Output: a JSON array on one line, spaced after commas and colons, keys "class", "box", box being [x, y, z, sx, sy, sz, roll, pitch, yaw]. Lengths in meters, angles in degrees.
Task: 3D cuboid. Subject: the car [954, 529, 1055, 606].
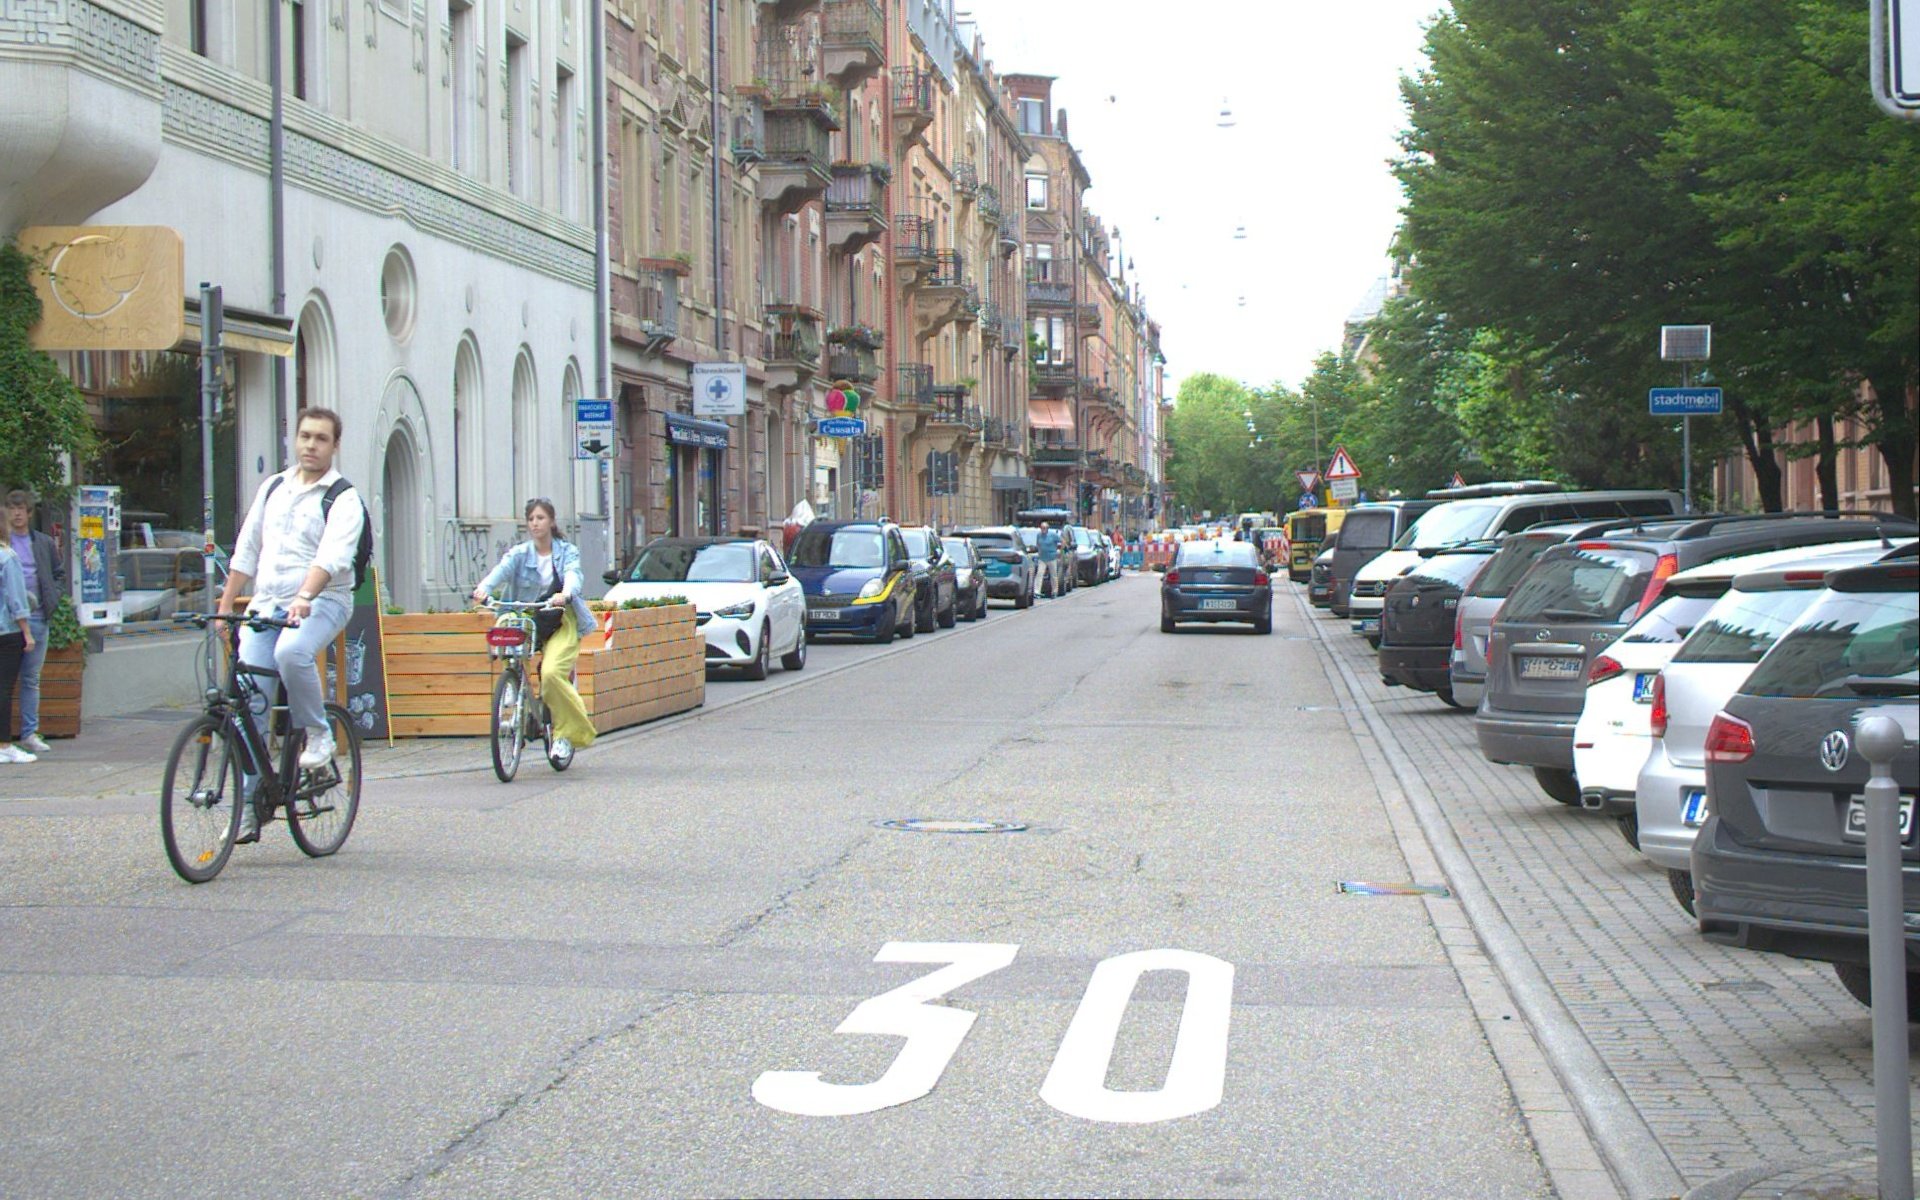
[{"class": "car", "box": [0.998, -0.714, 74.481, 1.944, 1.611, 3.942, 0, 1, 4]}]

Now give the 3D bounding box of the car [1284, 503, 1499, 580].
[{"class": "car", "box": [11.466, -1.558, 91.313, 5.385, 1.861, 1.951, -2, 1, -24]}]

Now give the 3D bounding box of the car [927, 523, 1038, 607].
[{"class": "car", "box": [0.487, -0.722, 69.064, 1.944, 1.611, 3.942, -1, 1, 4]}]

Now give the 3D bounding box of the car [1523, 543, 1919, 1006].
[{"class": "car", "box": [4.102, 0.539, 12.947, 3.554, 1.493, 1.846, -1, 2, -30]}]

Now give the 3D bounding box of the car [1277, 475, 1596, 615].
[{"class": "car", "box": [8.707, -1.014, 62.843, 5.385, 2.365, 1.951, -2, 1, -16]}]

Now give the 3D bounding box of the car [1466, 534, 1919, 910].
[{"class": "car", "box": [4.561, 0.505, 15.973, 3.972, 1.538, 1.876, 0, 1, -26]}]

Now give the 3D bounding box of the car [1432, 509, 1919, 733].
[{"class": "car", "box": [5.914, 0.126, 27.101, 4.046, 1.579, 1.771, -2, 1, -29]}]

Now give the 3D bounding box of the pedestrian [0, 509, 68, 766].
[{"class": "pedestrian", "box": [-6.274, 0.244, 22.546, 0.579, 1.655, 0.575, 0, 0, 26]}]

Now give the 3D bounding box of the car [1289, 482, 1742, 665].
[{"class": "car", "box": [7.083, -0.365, 43.634, 5.606, 2.120, 1.950, -2, 1, -29]}]

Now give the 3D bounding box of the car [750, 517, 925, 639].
[{"class": "car", "box": [-1.640, -0.322, 47.356, 1.944, 1.611, 3.942, 0, 1, 5]}]

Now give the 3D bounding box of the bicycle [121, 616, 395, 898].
[{"class": "bicycle", "box": [-3.020, 0.644, 14.975, 0.567, 1.084, 1.986, 0, 1, 6]}]

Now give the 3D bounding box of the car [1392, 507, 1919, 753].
[{"class": "car", "box": [5.309, 0.170, 24.607, 4.046, 1.579, 1.771, -2, 1, -25]}]

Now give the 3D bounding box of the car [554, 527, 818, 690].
[{"class": "car", "box": [-2.785, 0.056, 35.823, 1.944, 1.548, 3.816, -2, 1, 8]}]

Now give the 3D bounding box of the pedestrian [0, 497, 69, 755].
[{"class": "pedestrian", "box": [-6.395, 0.174, 23.284, 0.578, 1.728, 0.506, 0, 0, -31]}]

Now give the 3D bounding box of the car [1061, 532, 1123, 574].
[{"class": "car", "box": [4.336, -1.528, 113.168, 1.993, 1.316, 4.000, 0, 0, 2]}]

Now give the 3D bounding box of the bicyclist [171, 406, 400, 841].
[{"class": "bicyclist", "box": [-2.953, 0.096, 15.103, 0.782, 1.860, 0.714, 0, 1, 7]}]

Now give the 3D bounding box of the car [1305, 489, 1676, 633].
[{"class": "car", "box": [8.002, -0.598, 51.681, 5.386, 1.985, 1.950, -2, 1, -29]}]

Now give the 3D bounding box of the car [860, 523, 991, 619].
[{"class": "car", "box": [-0.560, -0.518, 59.750, 1.944, 1.611, 3.942, 0, 1, 4]}]

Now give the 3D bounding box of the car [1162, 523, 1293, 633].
[{"class": "car", "box": [4.222, -0.330, 54.637, 1.994, 1.675, 3.999, 0, 0, 4]}]

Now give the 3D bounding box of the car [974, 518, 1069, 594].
[{"class": "car", "box": [1.465, -1.035, 80.763, 1.944, 1.736, 3.942, 0, 1, 5]}]

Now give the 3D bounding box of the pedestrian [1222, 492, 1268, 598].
[{"class": "pedestrian", "box": [5.797, -1.106, 69.940, 0.891, 2.138, 1.028, 0, 0, 4]}]

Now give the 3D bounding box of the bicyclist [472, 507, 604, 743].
[{"class": "bicyclist", "box": [-2.543, 0.150, 20.764, 0.668, 1.394, 0.783, 0, 0, 2]}]

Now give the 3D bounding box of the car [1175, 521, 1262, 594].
[{"class": "car", "box": [6.076, -0.979, 81.047, 1.994, 1.675, 3.999, 0, 0, 4]}]

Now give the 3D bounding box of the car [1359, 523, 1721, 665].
[{"class": "car", "box": [6.763, -0.083, 40.055, 3.850, 1.500, 1.771, -2, 1, -29]}]

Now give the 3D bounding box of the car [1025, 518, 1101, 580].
[{"class": "car", "box": [2.970, -1.468, 98.299, 1.944, 1.732, 3.942, -1, 1, 5]}]

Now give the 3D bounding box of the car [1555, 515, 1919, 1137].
[{"class": "car", "box": [4.096, 0.477, 10.219, 4.273, 1.573, 1.864, -4, 1, -28]}]

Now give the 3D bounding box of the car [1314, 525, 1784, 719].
[{"class": "car", "box": [5.141, 0.162, 29.858, 3.851, 1.500, 1.771, -2, 1, -35]}]

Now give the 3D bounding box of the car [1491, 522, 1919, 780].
[{"class": "car", "box": [5.545, 0.262, 22.065, 4.047, 1.481, 1.682, -2, 1, -31]}]

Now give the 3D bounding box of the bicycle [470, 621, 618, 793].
[{"class": "bicycle", "box": [-2.486, 0.623, 20.706, 0.535, 0.974, 1.865, 0, 0, 4]}]

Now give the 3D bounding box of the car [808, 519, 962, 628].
[{"class": "car", "box": [-1.114, -0.423, 52.803, 1.944, 1.611, 3.942, 0, 1, 5]}]

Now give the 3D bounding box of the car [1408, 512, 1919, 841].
[{"class": "car", "box": [4.677, 0.332, 18.609, 4.046, 1.579, 1.904, -2, 1, -26]}]
